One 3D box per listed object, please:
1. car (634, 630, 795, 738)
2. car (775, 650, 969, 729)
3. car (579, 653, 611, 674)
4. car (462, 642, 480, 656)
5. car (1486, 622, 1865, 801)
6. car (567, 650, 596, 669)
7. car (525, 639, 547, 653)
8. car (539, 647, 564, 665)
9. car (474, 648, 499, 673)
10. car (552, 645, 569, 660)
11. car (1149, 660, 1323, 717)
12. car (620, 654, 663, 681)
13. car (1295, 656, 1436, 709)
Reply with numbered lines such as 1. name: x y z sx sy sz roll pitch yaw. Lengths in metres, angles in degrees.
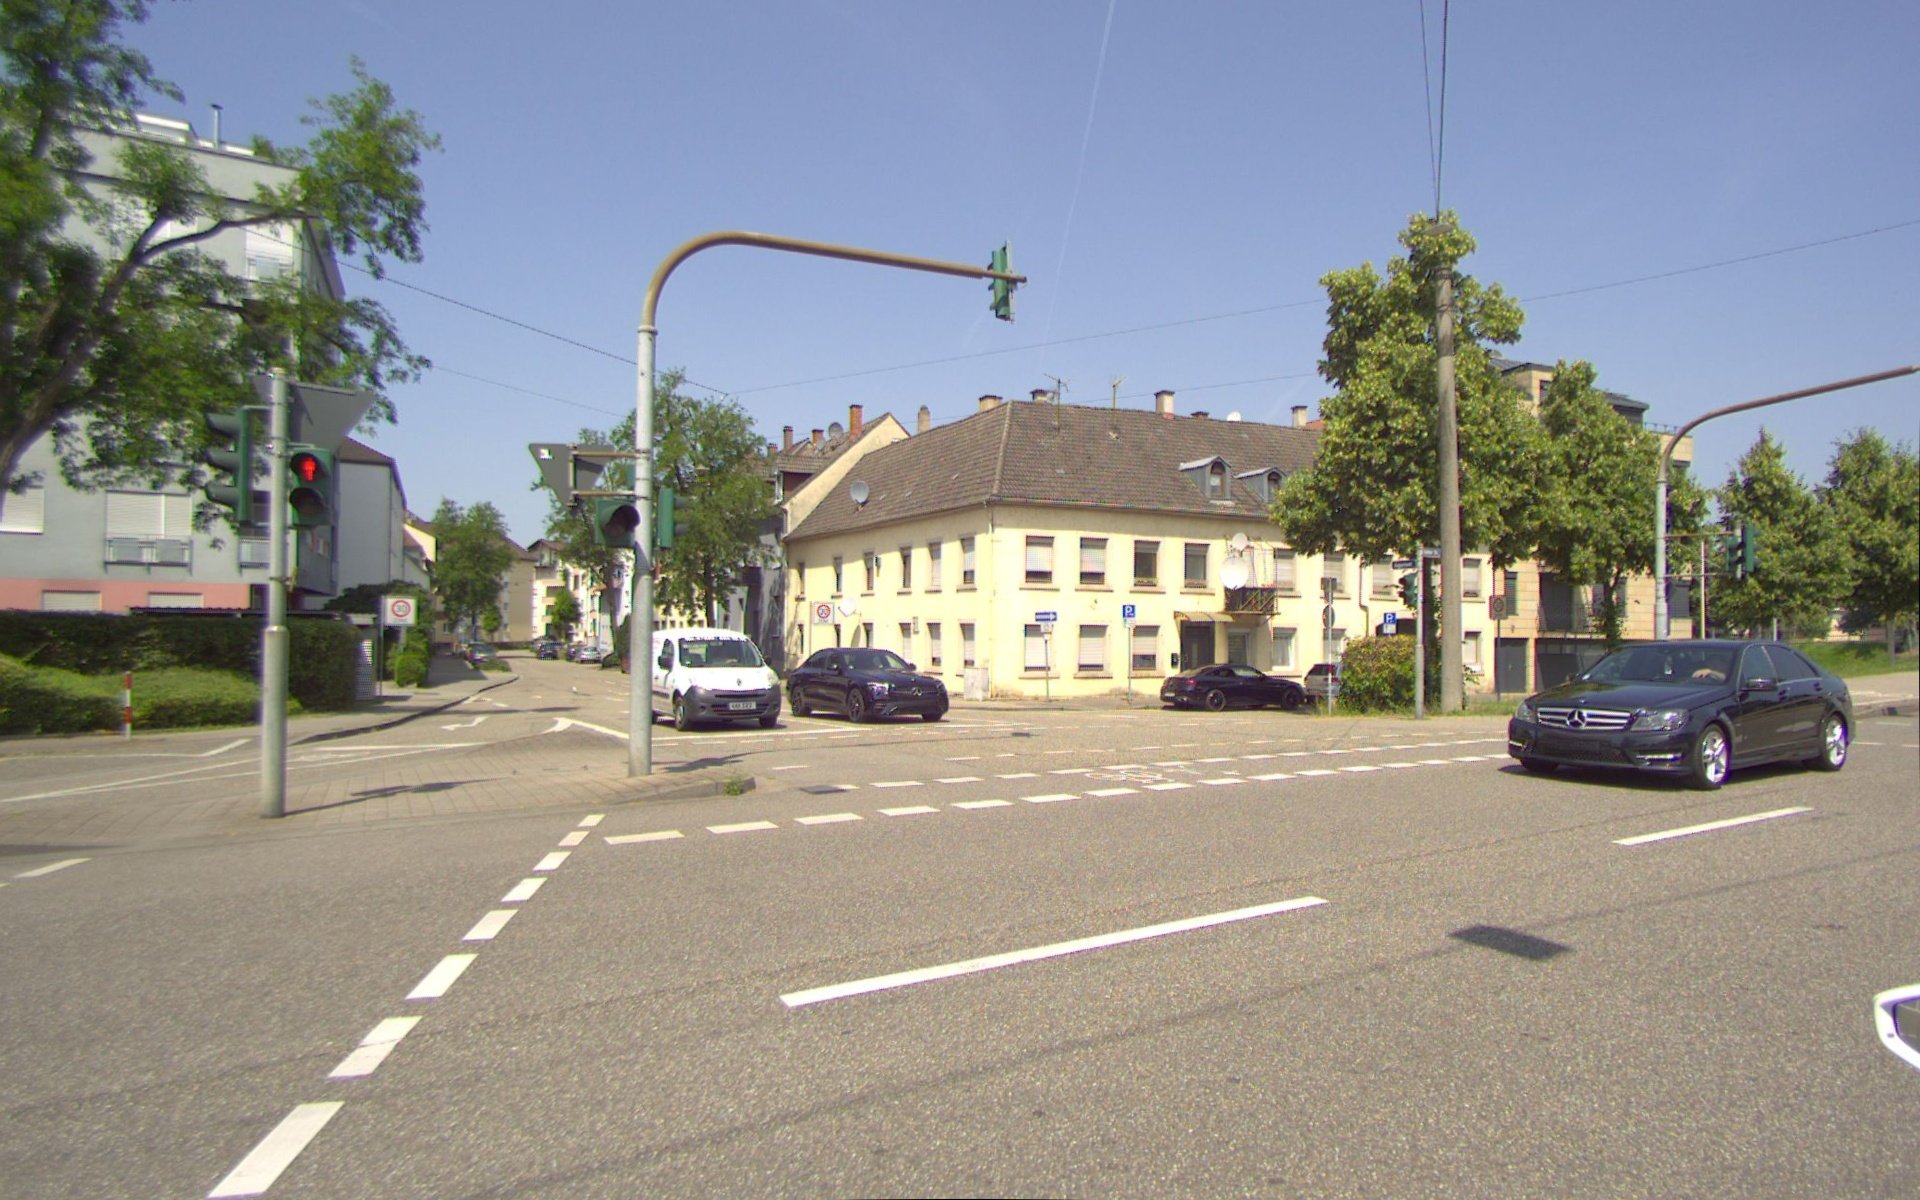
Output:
1. car: -4.577 1.502 18.400 1.872 1.757 3.668 2 -4 -31
2. car: -1.933 1.788 20.643 2.094 1.419 4.580 1 -4 -33
3. car: -29.504 5.132 81.186 1.814 1.425 4.297 1 0 -28
4. car: -55.027 5.549 113.045 1.526 1.400 3.235 1 0 -23
5. car: 7.730 1.047 10.764 4.268 1.581 1.747 1 -2 -31
6. car: -32.717 5.102 86.816 1.814 1.425 4.297 1 0 -28
7. car: -48.681 5.309 115.290 1.814 1.425 4.297 1 0 -28
8. car: -37.109 5.033 91.146 1.692 1.425 4.051 1 0 -28
9. car: -36.180 4.594 76.780 1.526 1.694 3.235 1 0 -23
10. car: -41.752 5.467 104.933 1.526 1.408 3.235 1 0 -23
11. car: 8.582 2.698 31.189 5.210 1.649 1.812 1 -4 -23
12. car: -20.229 4.240 63.628 1.814 1.425 4.297 1 0 -28
13. car: 13.432 2.690 33.256 4.365 1.451 1.772 0 0 -23
